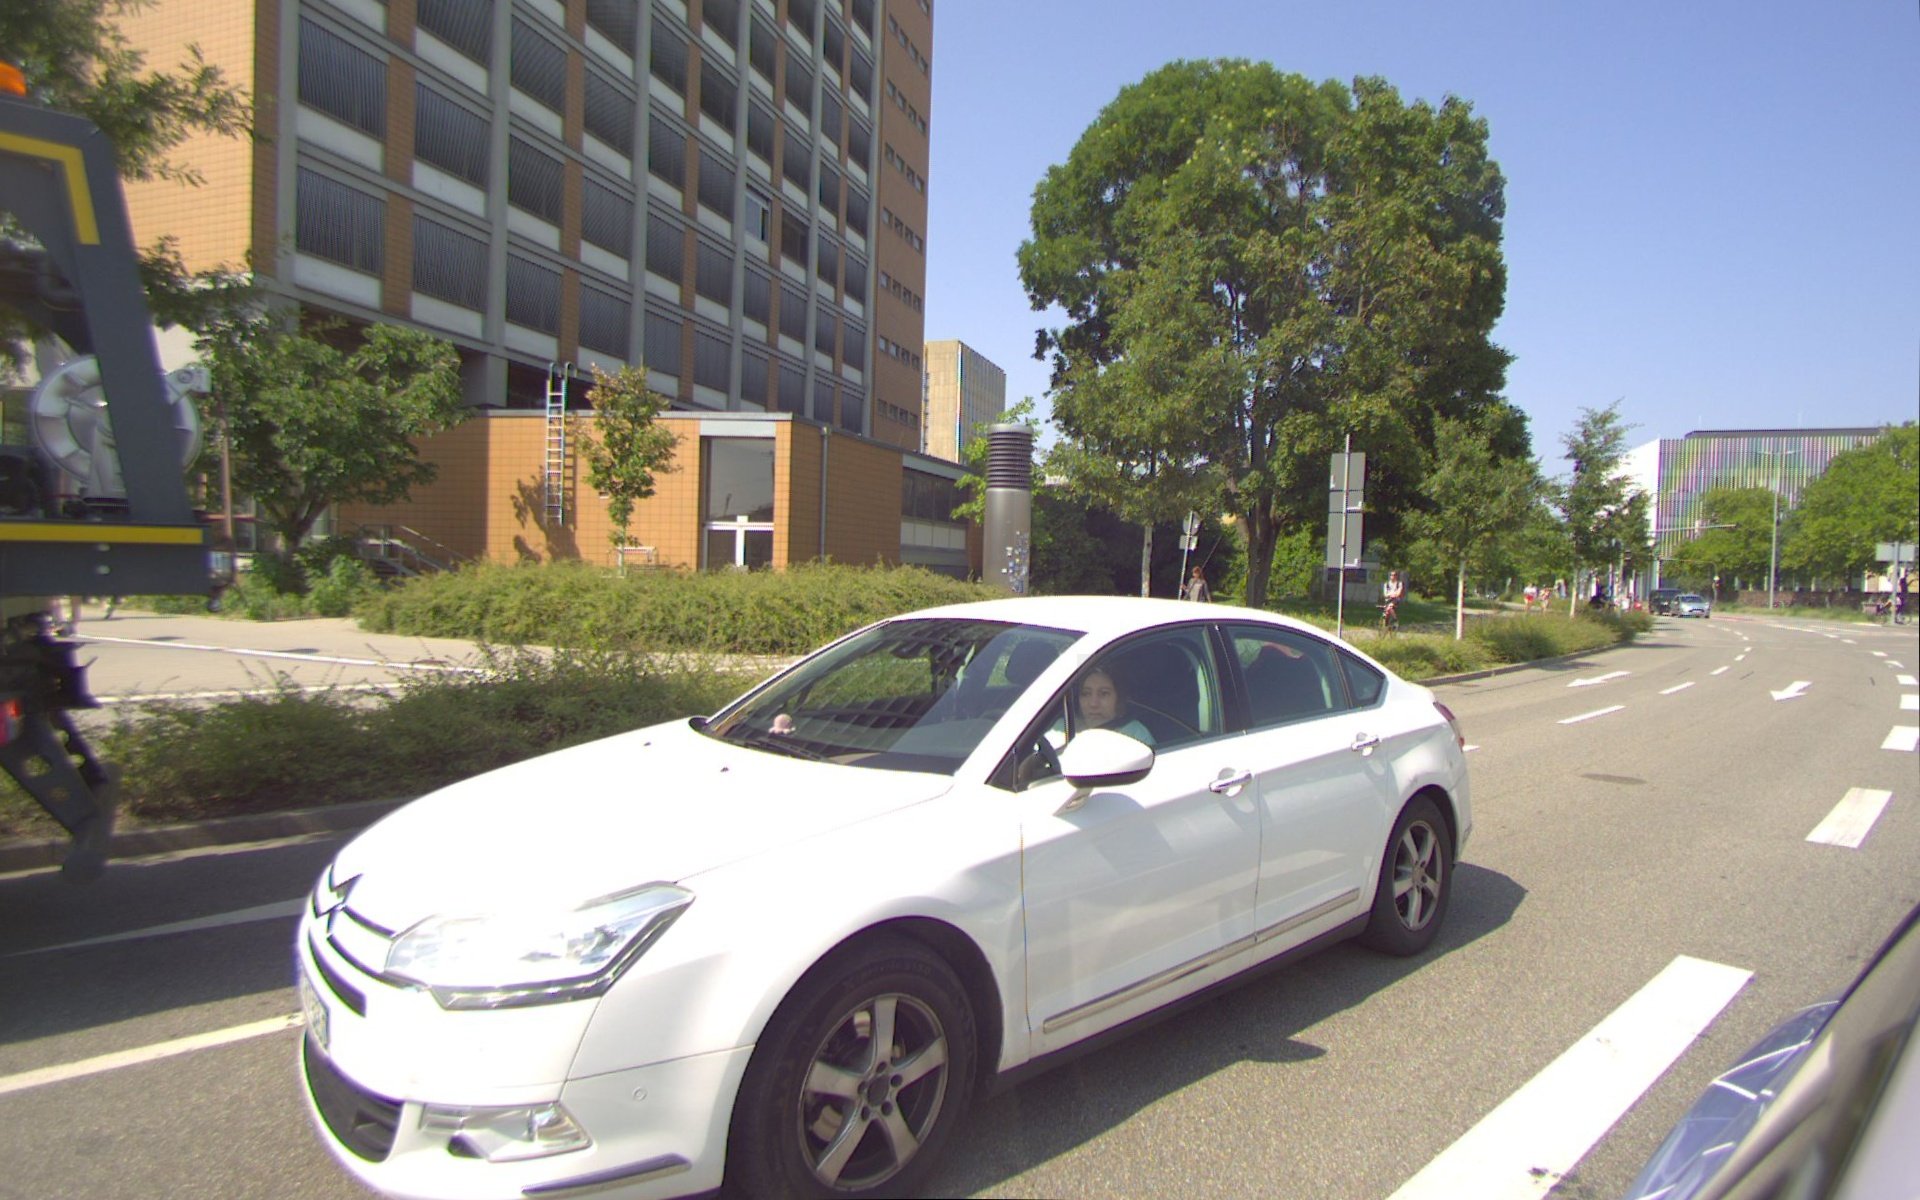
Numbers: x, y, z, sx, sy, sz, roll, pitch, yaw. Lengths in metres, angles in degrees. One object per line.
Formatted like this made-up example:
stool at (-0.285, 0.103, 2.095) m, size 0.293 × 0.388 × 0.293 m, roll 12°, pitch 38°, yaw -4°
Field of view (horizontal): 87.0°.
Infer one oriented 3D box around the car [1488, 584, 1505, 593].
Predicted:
car at (101.334, -2.155, 191.165) m, size 1.849 × 1.549 × 4.510 m, roll 2°, pitch 2°, yaw 17°

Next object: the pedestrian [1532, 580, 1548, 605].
pedestrian at (30.978, -0.421, 54.065) m, size 0.627 × 1.315 × 0.484 m, roll 0°, pitch 0°, yaw 21°

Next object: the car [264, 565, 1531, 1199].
car at (0.230, 0.651, 3.767) m, size 4.527 × 1.446 × 1.773 m, roll 0°, pitch 2°, yaw -40°

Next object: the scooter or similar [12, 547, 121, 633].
scooter or similar at (-13.981, -0.157, 15.865) m, size 1.153 × 1.295 × 0.652 m, roll 0°, pitch 0°, yaw -28°

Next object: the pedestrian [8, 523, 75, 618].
pedestrian at (-16.916, -0.556, 18.644) m, size 0.830 × 1.695 × 0.671 m, roll 2°, pitch 2°, yaw 28°

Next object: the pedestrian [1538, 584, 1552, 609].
pedestrian at (31.166, -0.175, 53.913) m, size 0.610 × 1.315 × 0.434 m, roll 0°, pitch 0°, yaw 22°

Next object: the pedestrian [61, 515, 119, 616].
pedestrian at (-16.730, -0.672, 19.460) m, size 0.831 × 1.894 × 0.622 m, roll 2°, pitch 2°, yaw 31°

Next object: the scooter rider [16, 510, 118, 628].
scooter rider at (-13.960, -0.479, 15.852) m, size 1.019 × 1.780 × 0.861 m, roll 0°, pitch 0°, yaw -29°

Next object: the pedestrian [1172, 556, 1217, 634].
pedestrian at (5.326, -0.126, 23.013) m, size 0.670 × 1.720 × 0.794 m, roll 2°, pitch 1°, yaw 41°

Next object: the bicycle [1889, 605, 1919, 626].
bicycle at (52.714, 0.878, 55.709) m, size 2.260 × 1.090 × 0.649 m, roll 3°, pitch 2°, yaw 43°

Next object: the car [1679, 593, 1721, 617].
car at (50.272, 0.297, 68.798) m, size 1.644 × 1.550 × 4.489 m, roll 0°, pitch 0°, yaw 28°

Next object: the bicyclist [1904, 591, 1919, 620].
bicyclist at (52.725, 0.298, 55.736) m, size 1.014 × 1.570 × 0.708 m, roll 2°, pitch 1°, yaw 43°

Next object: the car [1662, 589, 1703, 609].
car at (53.414, -0.099, 74.900) m, size 1.874 × 1.449 × 4.489 m, roll 1°, pitch 1°, yaw 28°

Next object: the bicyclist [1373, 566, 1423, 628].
bicyclist at (11.781, -0.083, 27.230) m, size 0.909 × 1.625 × 0.903 m, roll 0°, pitch 1°, yaw -43°

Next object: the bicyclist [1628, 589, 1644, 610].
bicyclist at (45.789, -0.031, 68.562) m, size 1.032 × 1.417 × 0.678 m, roll 0°, pitch 1°, yaw -45°

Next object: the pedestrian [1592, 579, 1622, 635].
pedestrian at (22.915, 0.240, 35.843) m, size 0.818 × 1.926 × 0.622 m, roll 2°, pitch 1°, yaw 37°

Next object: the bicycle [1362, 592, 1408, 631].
bicycle at (11.288, 0.308, 26.849) m, size 1.751 × 0.992 × 0.357 m, roll 0°, pitch 2°, yaw -41°

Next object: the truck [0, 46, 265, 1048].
truck at (-5.898, -0.175, 2.501) m, size 6.737 × 3.174 × 2.497 m, roll 0°, pitch 0°, yaw -39°
